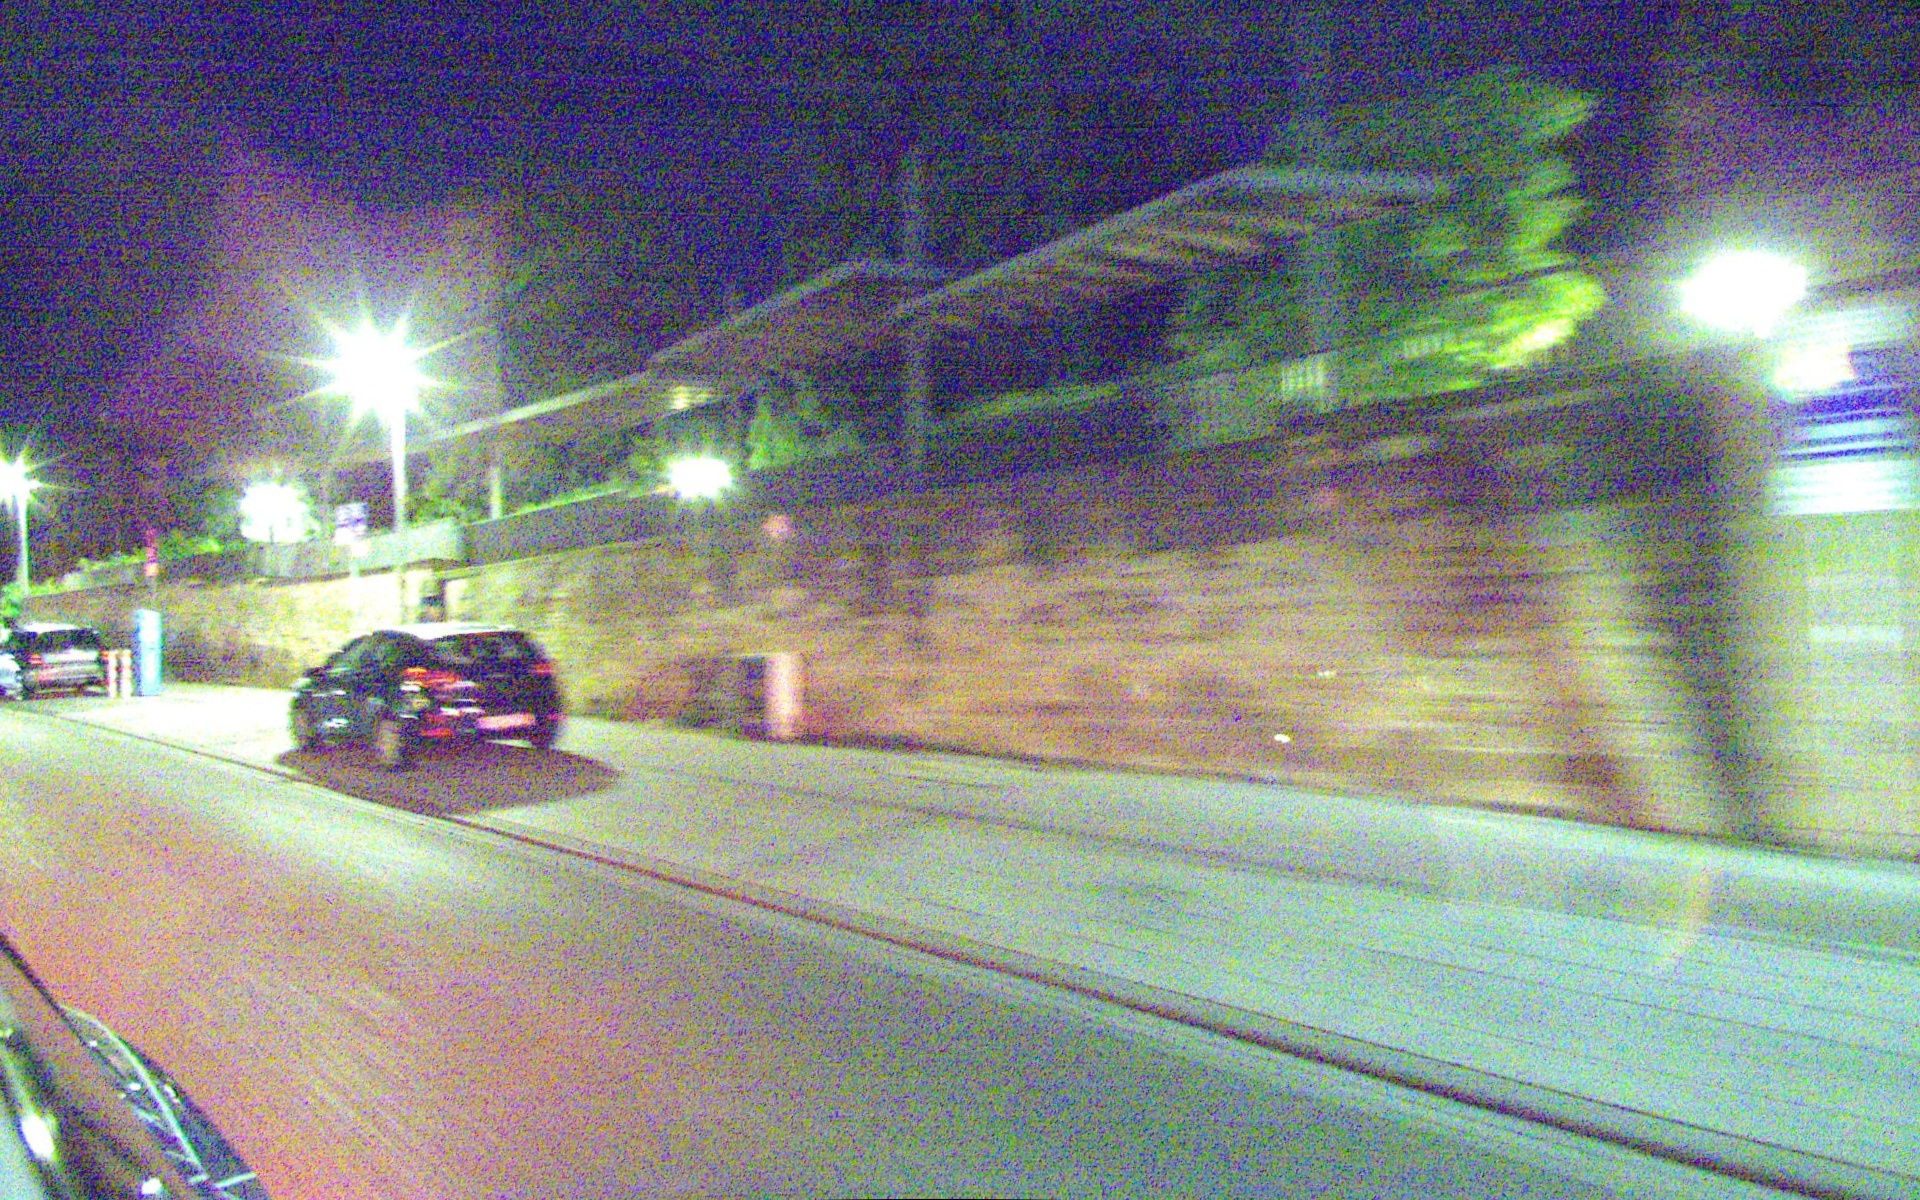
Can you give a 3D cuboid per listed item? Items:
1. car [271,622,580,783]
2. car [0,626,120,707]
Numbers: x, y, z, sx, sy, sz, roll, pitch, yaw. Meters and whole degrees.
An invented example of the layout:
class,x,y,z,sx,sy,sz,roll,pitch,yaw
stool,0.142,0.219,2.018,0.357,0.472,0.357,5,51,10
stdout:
class,x,y,z,sx,sy,sz,roll,pitch,yaw
car,-6.208,1.032,11.560,4.124,1.447,1.675,-2,0,40
car,-20.062,1.385,22.199,3.684,1.535,1.677,0,0,36
